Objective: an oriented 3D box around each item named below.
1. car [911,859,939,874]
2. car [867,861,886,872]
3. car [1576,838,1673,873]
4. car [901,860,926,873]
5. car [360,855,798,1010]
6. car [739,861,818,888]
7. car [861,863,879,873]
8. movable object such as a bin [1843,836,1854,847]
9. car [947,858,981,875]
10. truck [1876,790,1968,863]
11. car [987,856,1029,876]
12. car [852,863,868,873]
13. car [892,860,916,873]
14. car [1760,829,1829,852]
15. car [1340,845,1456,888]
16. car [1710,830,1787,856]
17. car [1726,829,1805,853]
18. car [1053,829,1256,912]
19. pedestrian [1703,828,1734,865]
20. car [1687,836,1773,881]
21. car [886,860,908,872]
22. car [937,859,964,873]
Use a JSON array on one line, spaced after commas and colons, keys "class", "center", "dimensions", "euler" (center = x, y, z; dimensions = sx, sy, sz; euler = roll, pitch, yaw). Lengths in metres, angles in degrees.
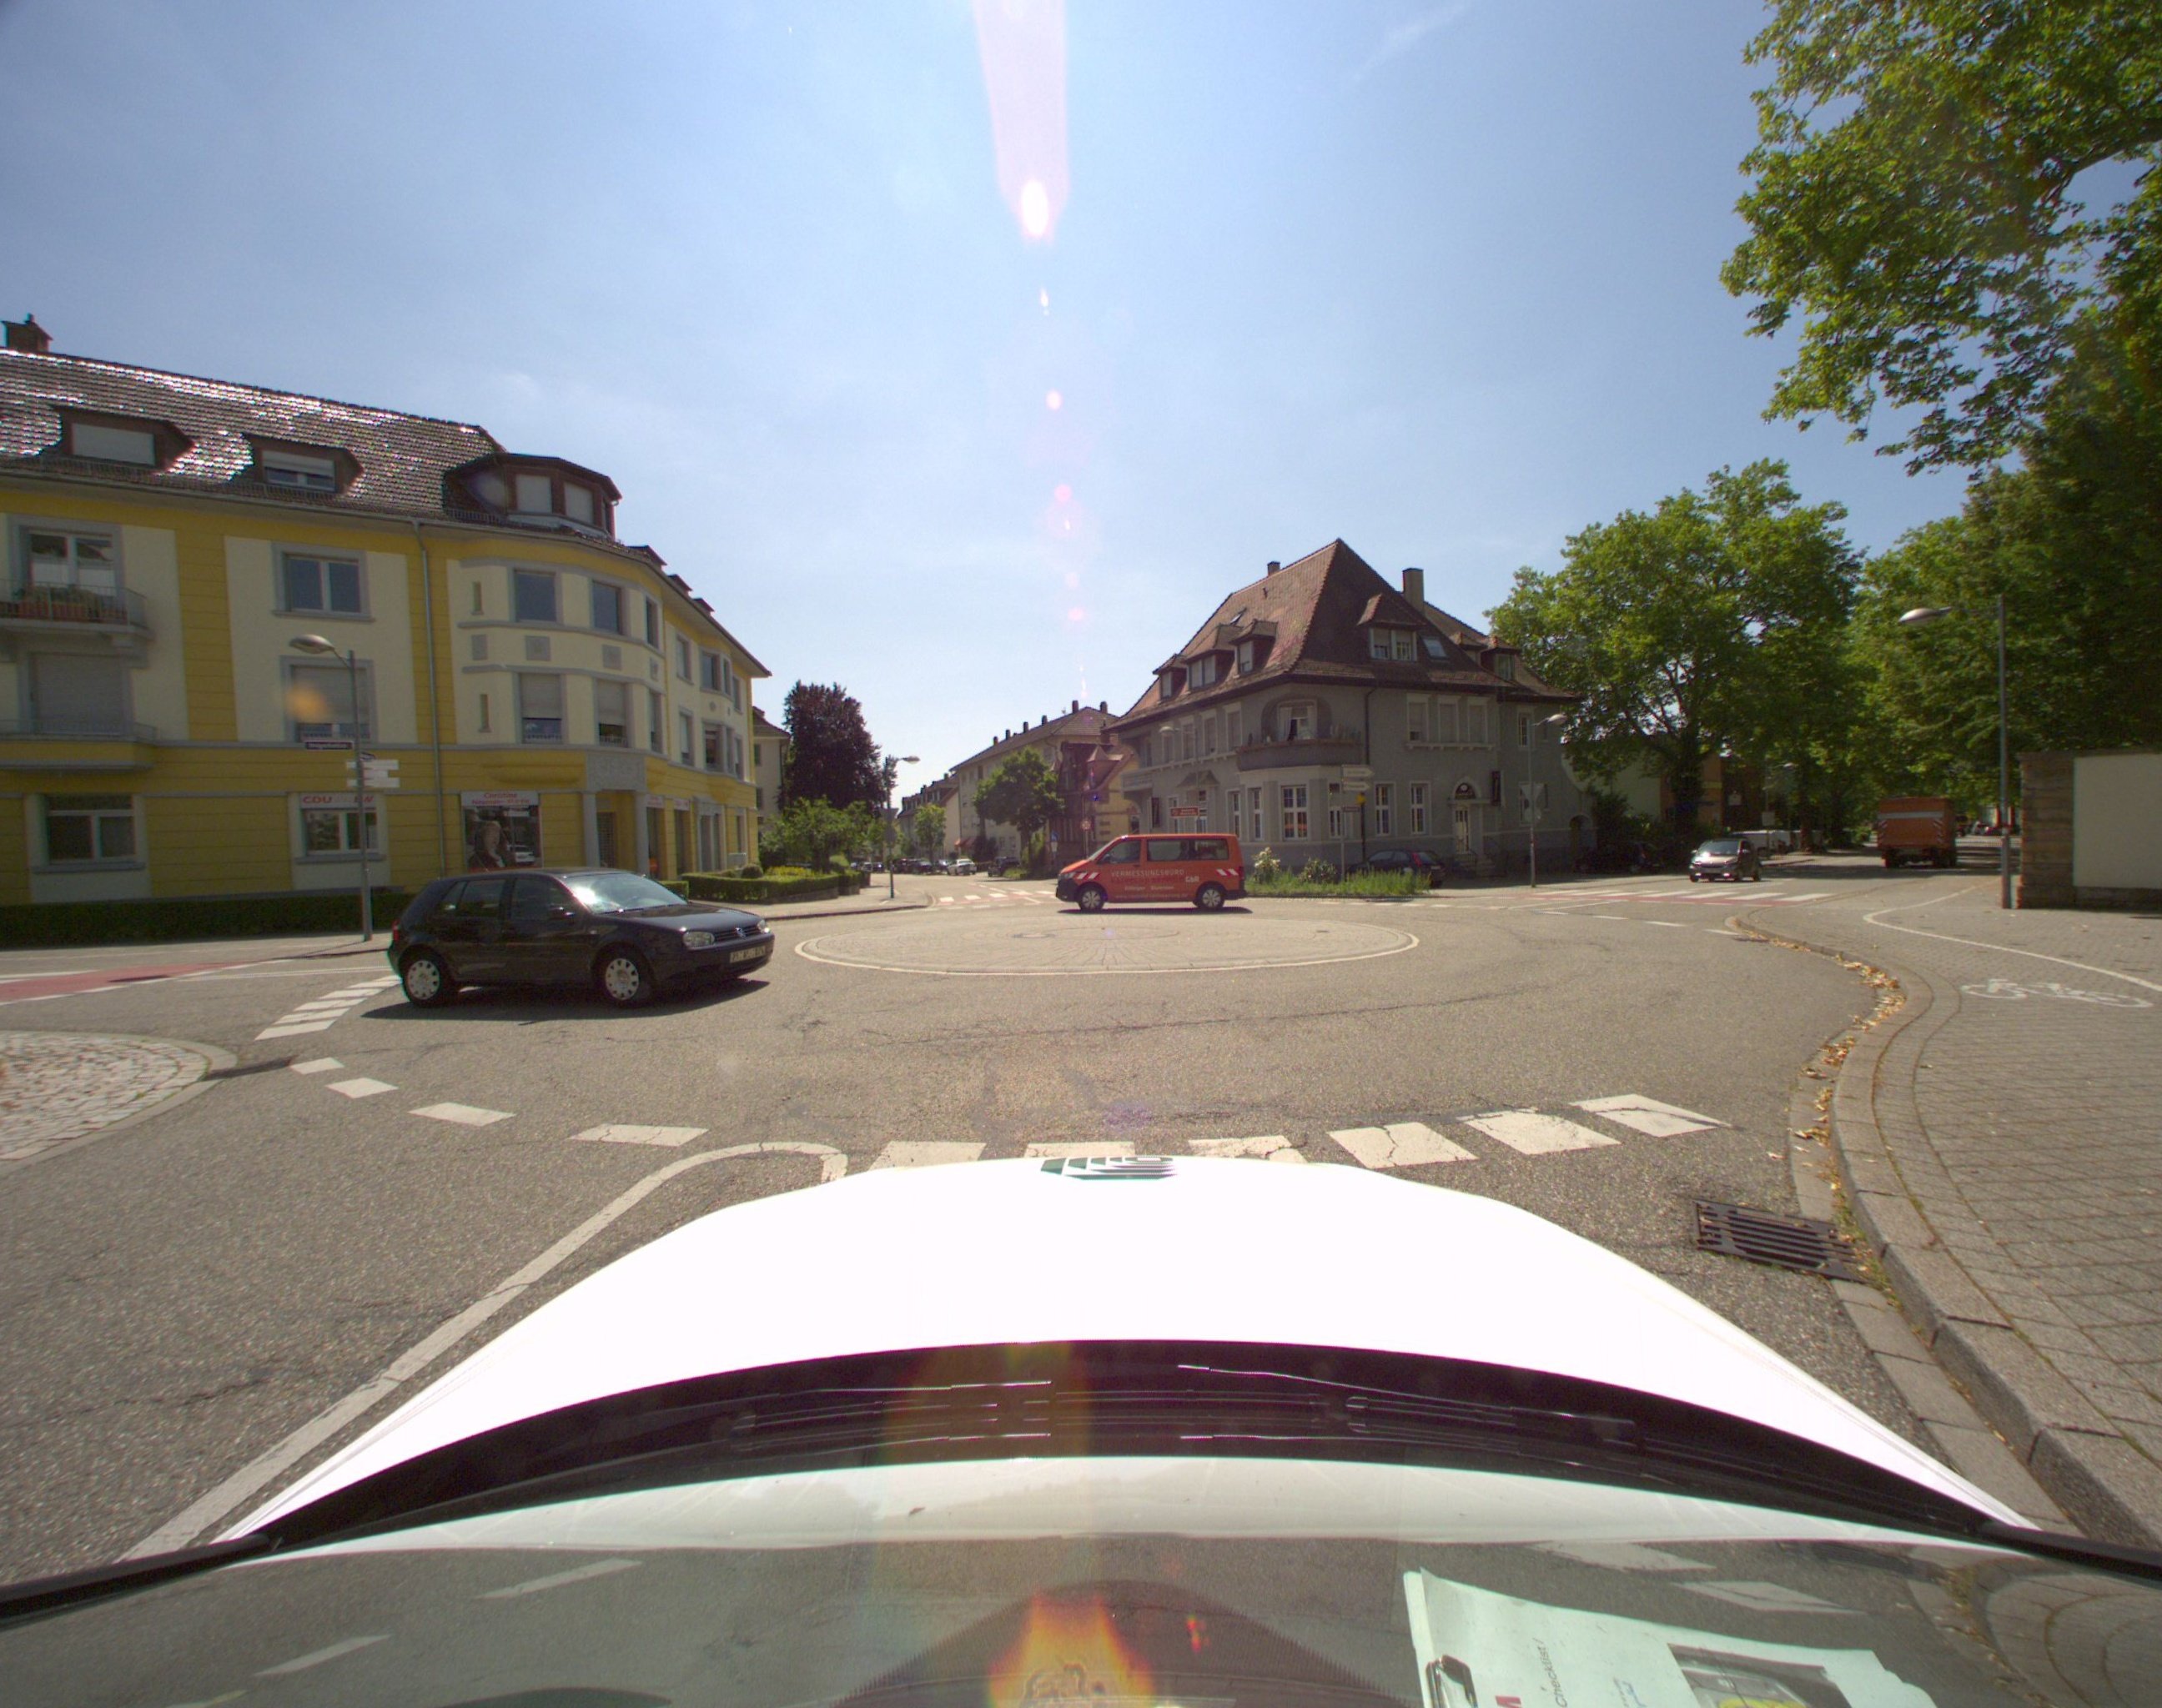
[{"class": "car", "center": [-17.224, 1.383, 89.744], "dimensions": [2.003, 1.509, 4.383], "euler": [-1, 0, -24]}, {"class": "car", "center": [-29.861, 1.863, 118.841], "dimensions": [2.003, 1.509, 4.383], "euler": [-1, 0, -24]}, {"class": "car", "center": [25.408, 0.070, 38.173], "dimensions": [1.728, 1.546, 3.362], "euler": [-1, 0, -28]}, {"class": "car", "center": [-19.600, 1.441, 95.328], "dimensions": [2.003, 1.509, 4.383], "euler": [-1, 0, -24]}, {"class": "car", "center": [-5.520, 0.840, 9.153], "dimensions": [4.017, 1.447, 1.722], "euler": [-2, 1, 12]}, {"class": "car", "center": [-19.104, 1.247, 51.486], "dimensions": [4.432, 1.509, 1.981], "euler": [-2, 0, -30]}, {"class": "car", "center": [-32.174, 2.085, 124.167], "dimensions": [2.003, 1.509, 4.383], "euler": [-1, 0, -24]}, {"class": "movable object such as a bin", "center": [73.656, -1.209, 78.187], "dimensions": [0.622, 1.048, 0.620], "euler": [-2, 0, -30]}, {"class": "car", "center": [-10.911, 1.179, 75.913], "dimensions": [2.003, 1.509, 4.383], "euler": [-1, 0, -24]}, {"class": "truck", "center": [39.101, -1.171, 37.815], "dimensions": [5.797, 3.134, 2.351], "euler": [0, -1, -38]}, {"class": "car", "center": [-5.845, 0.970, 65.089], "dimensions": [2.003, 1.509, 4.383], "euler": [-1, 0, -24]}, {"class": "car", "center": [-36.526, 2.297, 134.449], "dimensions": [2.002, 1.488, 3.969], "euler": [0, -1, -23]}, {"class": "car", "center": [-21.837, 1.496, 100.134], "dimensions": [2.003, 1.509, 4.383], "euler": [-1, 0, -24]}, {"class": "car", "center": [59.047, -1.121, 67.450], "dimensions": [1.913, 1.804, 4.093], "euler": [-1, 2, -41]}, {"class": "car", "center": [11.692, 0.438, 30.264], "dimensions": [1.728, 1.460, 3.758], "euler": [-1, 0, -28]}, {"class": "car", "center": [47.263, -0.826, 57.691], "dimensions": [1.878, 1.792, 3.953], "euler": [-1, 2, -41]}, {"class": "car", "center": [52.510, -1.024, 62.511], "dimensions": [1.913, 1.804, 4.385], "euler": [-1, 2, -41]}, {"class": "car", "center": [1.838, 0.398, 21.077], "dimensions": [4.987, 1.959, 1.950], "euler": [-1, 1, 0]}, {"class": "pedestrian", "center": [30.841, -0.364, 39.409], "dimensions": [1.117, 1.742, 0.865], "euler": [-1, 0, -36]}, {"class": "car", "center": [23.354, 0.133, 29.307], "dimensions": [2.799, 1.530, 1.554], "euler": [-1, 0, -32]}, {"class": "car", "center": [-23.606, 1.542, 104.364], "dimensions": [2.003, 1.509, 4.383], "euler": [-1, 0, -24]}, {"class": "car", "center": [-15.151, 1.408, 94.577], "dimensions": [2.003, 1.509, 4.383], "euler": [-1, 0, -24]}]
